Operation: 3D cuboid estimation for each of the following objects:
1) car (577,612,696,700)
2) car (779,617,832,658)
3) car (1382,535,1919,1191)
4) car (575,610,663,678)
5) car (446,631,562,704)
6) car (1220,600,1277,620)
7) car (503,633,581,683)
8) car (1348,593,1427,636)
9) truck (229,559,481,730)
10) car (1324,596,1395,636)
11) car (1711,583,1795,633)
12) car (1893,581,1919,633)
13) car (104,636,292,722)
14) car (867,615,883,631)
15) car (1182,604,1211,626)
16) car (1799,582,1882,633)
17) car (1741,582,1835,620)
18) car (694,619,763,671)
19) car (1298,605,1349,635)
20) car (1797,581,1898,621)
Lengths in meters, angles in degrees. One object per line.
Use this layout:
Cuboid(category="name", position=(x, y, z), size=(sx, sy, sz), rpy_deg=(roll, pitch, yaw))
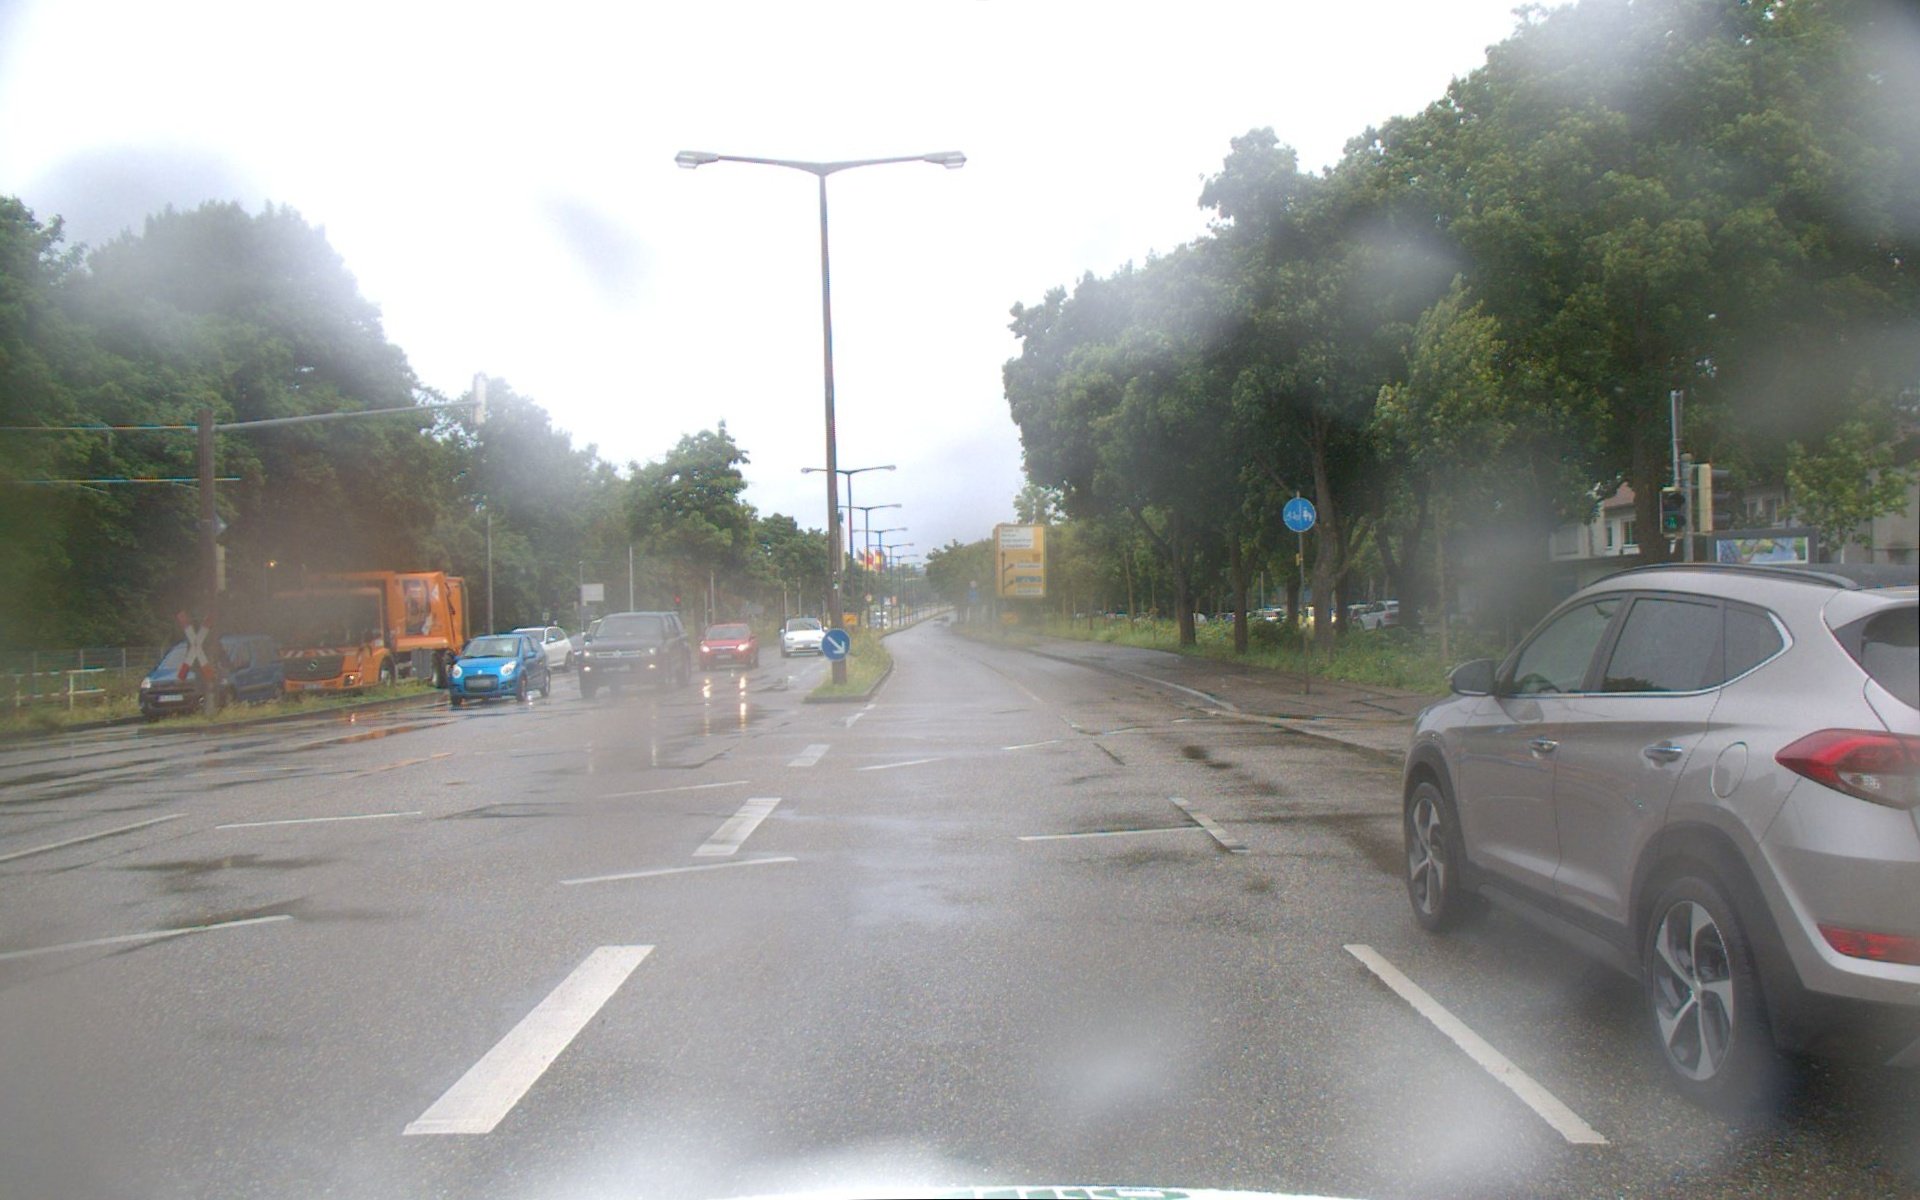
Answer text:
Cuboid(category="car", position=(-7.371, 1.228, 38.187), size=(1.769, 1.804, 5.087), rpy_deg=(-3, -1, -1))
Cuboid(category="car", position=(-6.709, 1.603, 72.336), size=(1.921, 1.645, 4.695), rpy_deg=(-2, -1, -1))
Cuboid(category="car", position=(3.081, 0.677, 6.256), size=(1.846, 1.638, 4.195), rpy_deg=(1, 0, -1))
Cuboid(category="car", position=(-11.052, 1.385, 53.884), size=(1.890, 2.053, 4.742), rpy_deg=(-2, 0, -1))
Cuboid(category="car", position=(-10.177, 1.468, 37.183), size=(1.608, 1.452, 3.997), rpy_deg=(-3, -1, -3))
Cuboid(category="car", position=(25.067, 0.904, 143.703), size=(4.482, 1.674, 1.997), rpy_deg=(0, -1, -7))
Cuboid(category="car", position=(-16.141, 2.217, 64.101), size=(1.953, 1.860, 4.769), rpy_deg=(0, -1, -3))
Cuboid(category="car", position=(18.661, 0.678, 72.435), size=(1.954, 1.747, 4.875), rpy_deg=(-2, -1, -3))
Cuboid(category="truck", position=(-16.590, 1.214, 46.472), size=(3.316, 4.241, 10.403), rpy_deg=(0, -1, -1))
Cuboid(category="car", position=(18.815, 0.775, 78.057), size=(1.954, 1.747, 4.638), rpy_deg=(-2, -1, -3))
Cuboid(category="car", position=(24.710, 0.278, 51.513), size=(1.637, 1.475, 3.735), rpy_deg=(-1, -2, 37))
Cuboid(category="car", position=(28.521, 0.223, 47.873), size=(3.722, 1.475, 1.643), rpy_deg=(1, -2, -44))
Cuboid(category="car", position=(-16.460, 1.669, 36.019), size=(1.953, 1.739, 4.526), rpy_deg=(0, -1, 0))
Cuboid(category="car", position=(-10.063, 2.726, 195.828), size=(1.709, 1.679, 4.134), rpy_deg=(-4, 0, -2))
Cuboid(category="car", position=(18.324, 1.146, 128.400), size=(1.708, 1.470, 4.123), rpy_deg=(-2, 1, 1))
Cuboid(category="car", position=(26.706, 0.260, 50.138), size=(1.637, 1.475, 3.735), rpy_deg=(-1, -2, 37))
Cuboid(category="car", position=(31.287, 0.059, 62.593), size=(1.541, 1.339, 3.699), rpy_deg=(0, -1, -4))
Cuboid(category="car", position=(-7.786, 1.518, 55.938), size=(1.765, 1.597, 4.427), rpy_deg=(-3, -1, -2))
Cuboid(category="car", position=(18.827, 1.067, 85.807), size=(1.604, 1.512, 4.070), rpy_deg=(0, -1, -3))
Cuboid(category="car", position=(33.621, 0.063, 62.764), size=(1.552, 1.410, 3.997), rpy_deg=(0, -1, -3))
